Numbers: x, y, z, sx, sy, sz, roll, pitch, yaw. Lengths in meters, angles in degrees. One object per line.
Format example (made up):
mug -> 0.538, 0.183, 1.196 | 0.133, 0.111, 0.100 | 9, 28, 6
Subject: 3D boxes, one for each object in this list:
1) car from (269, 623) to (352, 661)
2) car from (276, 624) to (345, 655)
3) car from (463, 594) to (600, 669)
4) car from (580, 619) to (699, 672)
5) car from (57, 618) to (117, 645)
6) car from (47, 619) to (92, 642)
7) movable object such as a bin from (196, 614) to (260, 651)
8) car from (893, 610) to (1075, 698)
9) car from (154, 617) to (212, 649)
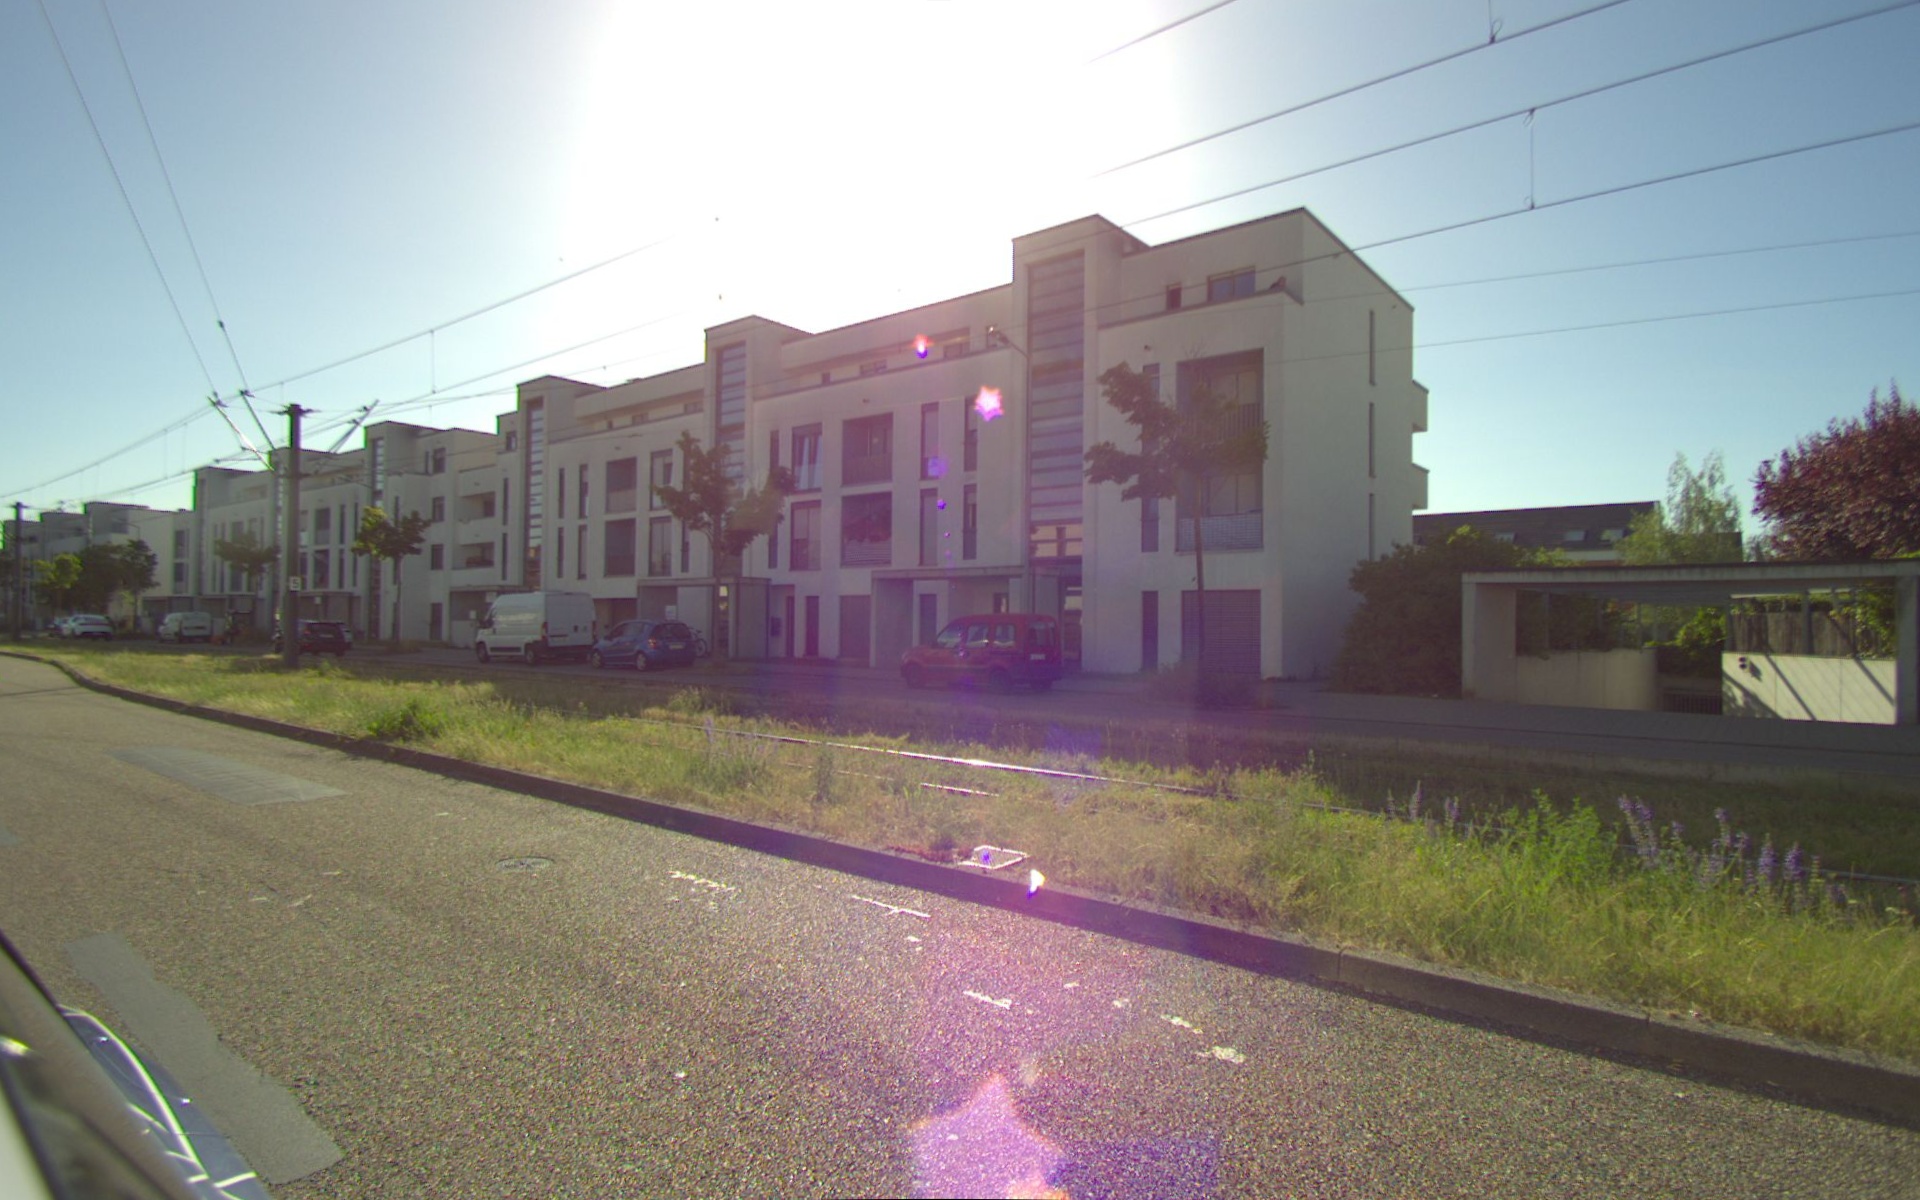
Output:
car -> -26.192, 1.676, 40.775 | 3.999, 1.429, 1.769 | -1, -4, 42
car -> -31.556, 1.903, 49.137 | 4.149, 1.443, 1.503 | -1, -1, 37
car -> -15.334, 1.081, 36.047 | 5.583, 2.463, 2.119 | -1, -1, 39
car -> -10.066, 1.386, 31.705 | 3.840, 1.548, 1.805 | -1, -1, 41
car -> -54.938, 1.967, 63.641 | 4.641, 1.608, 1.974 | -1, -4, 39
car -> -67.548, 2.304, 76.773 | 4.149, 1.611, 1.745 | -1, -1, 37
movable object such as a bin -> -40.904, 1.783, 56.523 | 4.149, 1.952, 1.745 | -1, -1, 37
car -> 0.495, 1.156, 23.023 | 3.836, 1.809, 1.861 | -1, -1, 42
car -> -47.278, 1.986, 61.562 | 4.149, 1.884, 1.745 | -1, -1, 37
